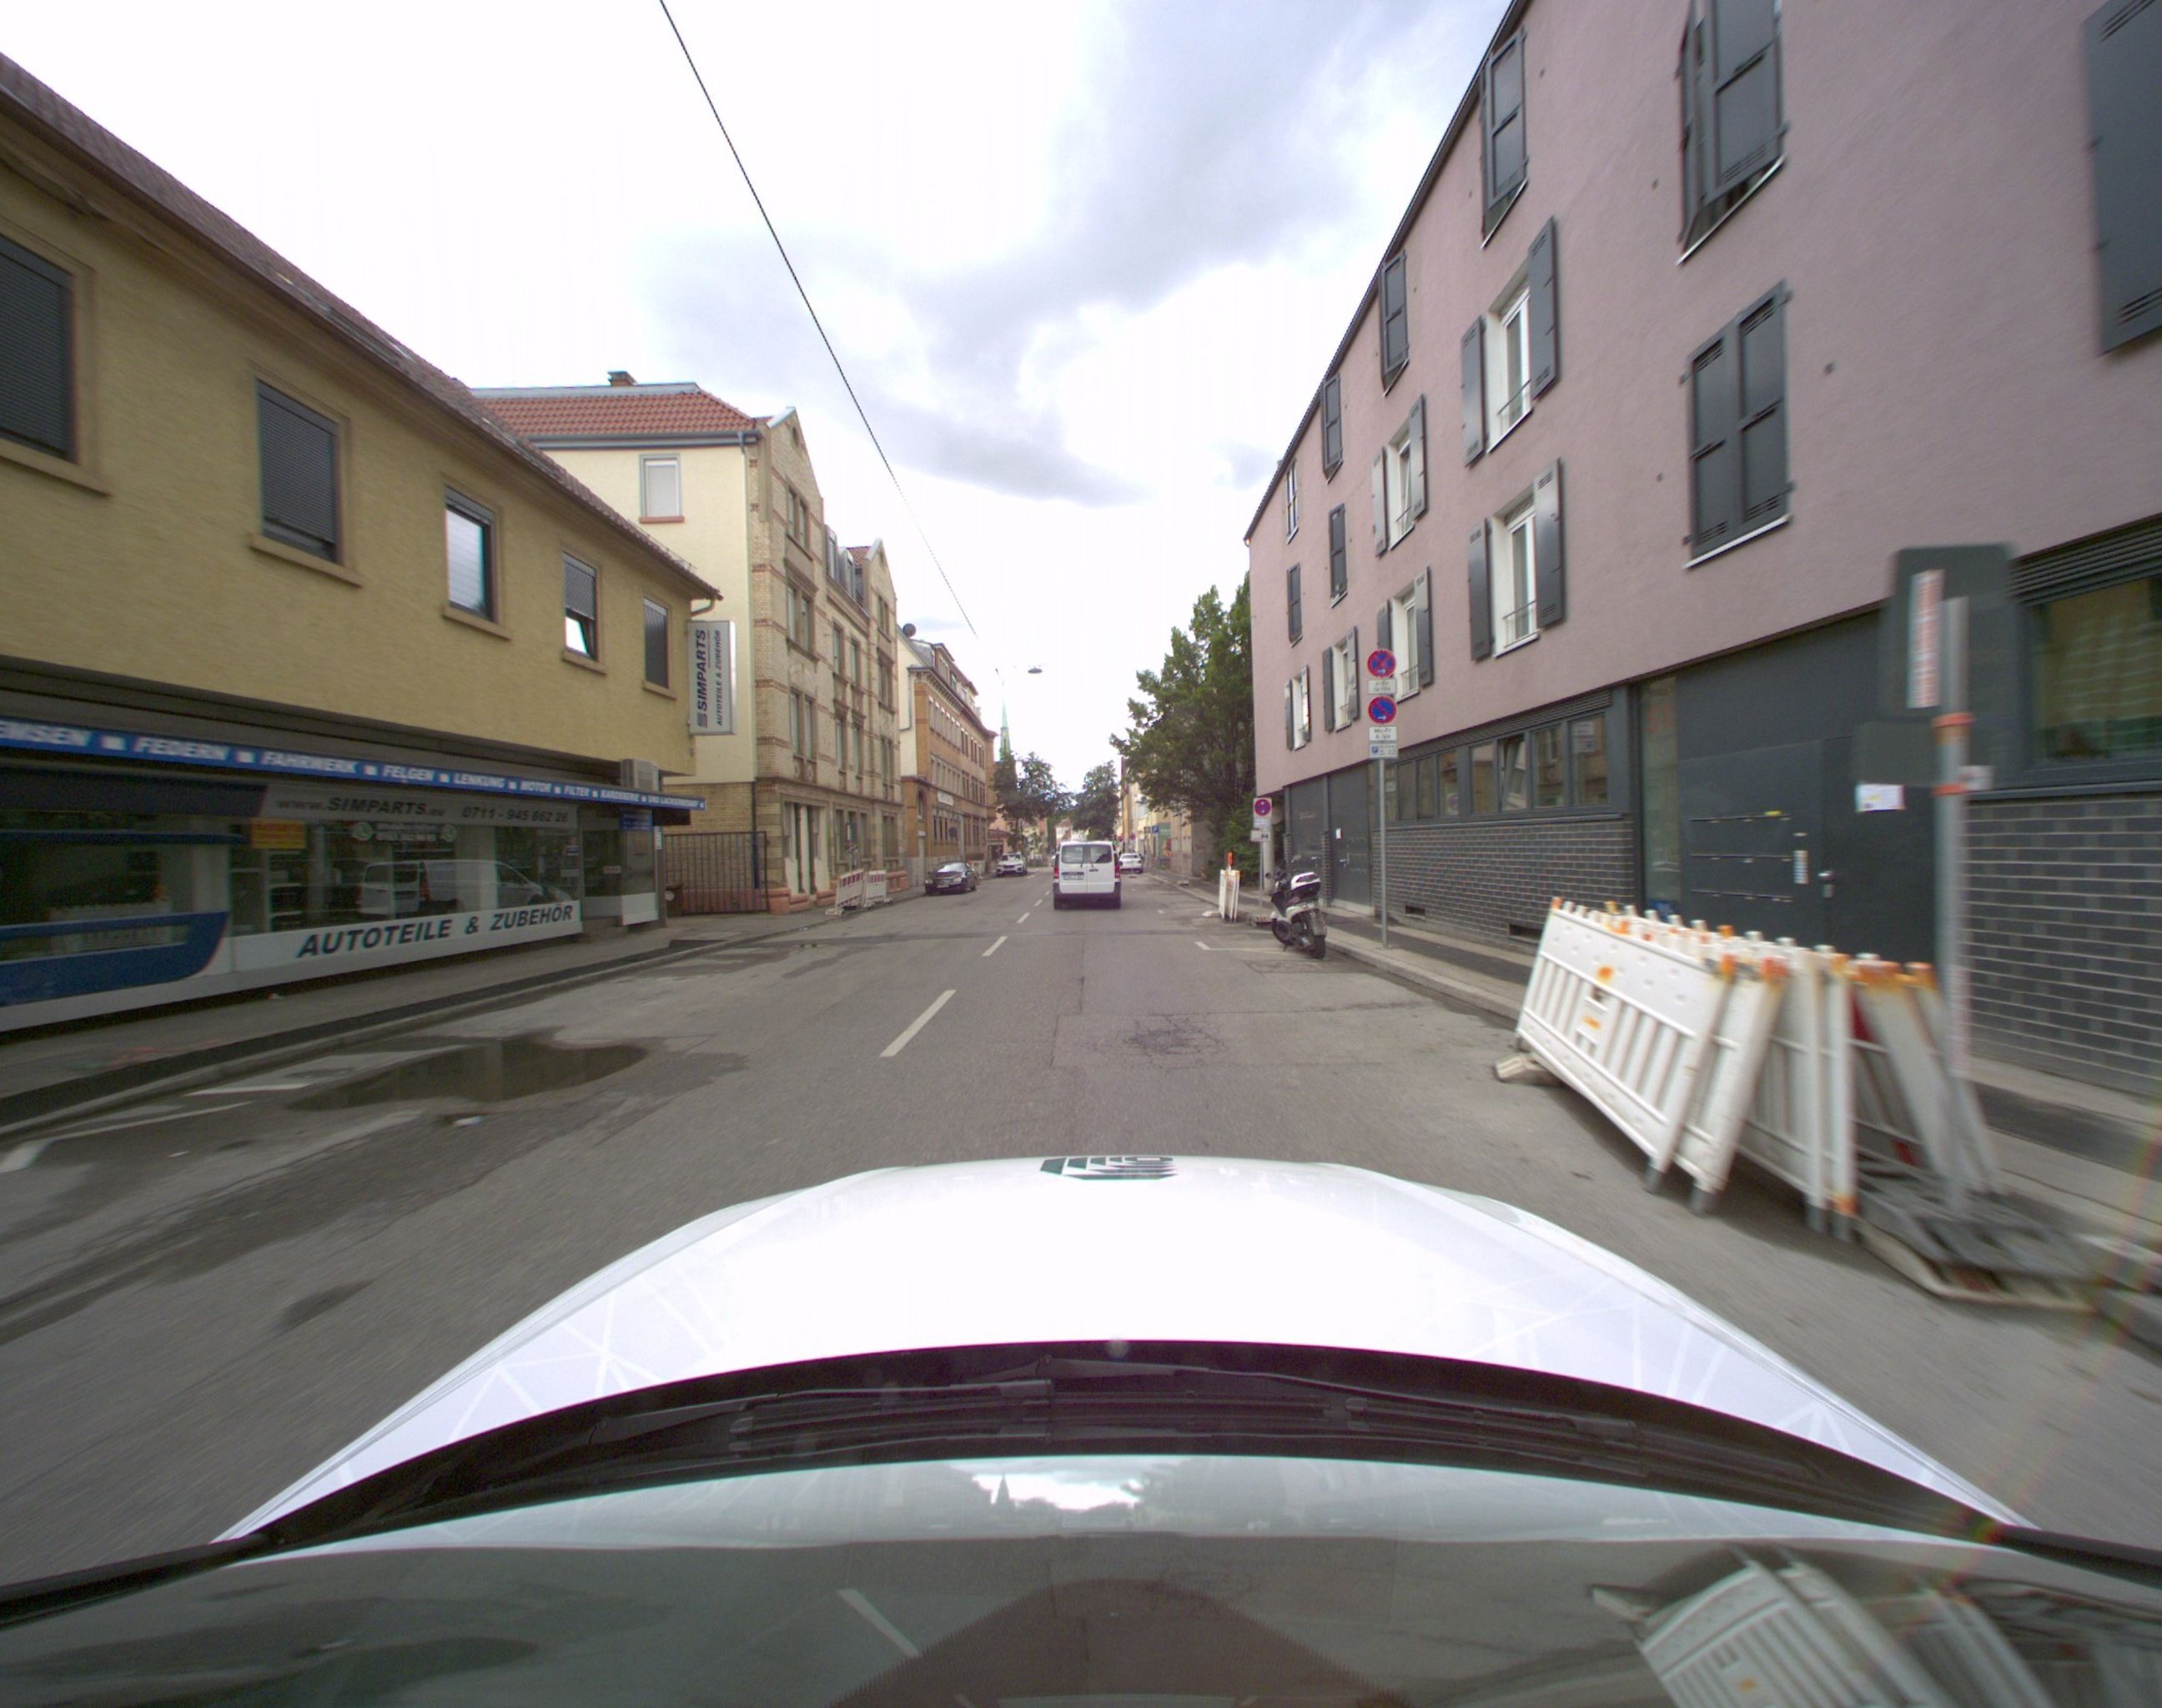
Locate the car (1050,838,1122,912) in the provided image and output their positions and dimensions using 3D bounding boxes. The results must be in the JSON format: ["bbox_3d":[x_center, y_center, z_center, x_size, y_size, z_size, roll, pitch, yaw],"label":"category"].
[{"bbox_3d":[0.123,0.556,23.691,1.867,1.912,3.999,-1,0,0],"label":"car"}]

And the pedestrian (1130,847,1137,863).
[{"bbox_3d":[5.707,0.114,88.867,0.613,1.653,0.982,0,0,-2],"label":"pedestrian"}]

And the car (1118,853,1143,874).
[{"bbox_3d":[3.666,0.670,60.953,1.760,1.466,4.787,-1,0,3],"label":"car"}]

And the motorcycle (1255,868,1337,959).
[{"bbox_3d":[3.238,0.848,12.489,0.644,1.226,2.337,0,0,0],"label":"motorcycle"}]

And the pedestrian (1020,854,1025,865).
[{"bbox_3d":[-8.055,0.783,112.149,0.737,1.535,0.982,-1,0,-2],"label":"pedestrian"}]

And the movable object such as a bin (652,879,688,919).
[{"bbox_3d":[-11.219,1.225,22.259,0.590,1.035,0.613,-3,0,2],"label":"movable object such as a bin"}]

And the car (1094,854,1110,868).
[{"bbox_3d":[2.857,0.971,109.522,1.815,1.781,4.398,-1,-1,-3],"label":"car"}]

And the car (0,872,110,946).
[{"bbox_3d":[-22.846,1.162,16.315,1.787,1.464,4.008,-1,0,7],"label":"car"}]

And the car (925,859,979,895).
[{"bbox_3d":[-5.605,0.970,35.867,1.573,1.382,4.355,-3,0,1],"label":"car"}]

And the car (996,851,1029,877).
[{"bbox_3d":[-5.064,0.726,60.763,1.885,1.712,4.741,-3,0,0],"label":"car"}]
